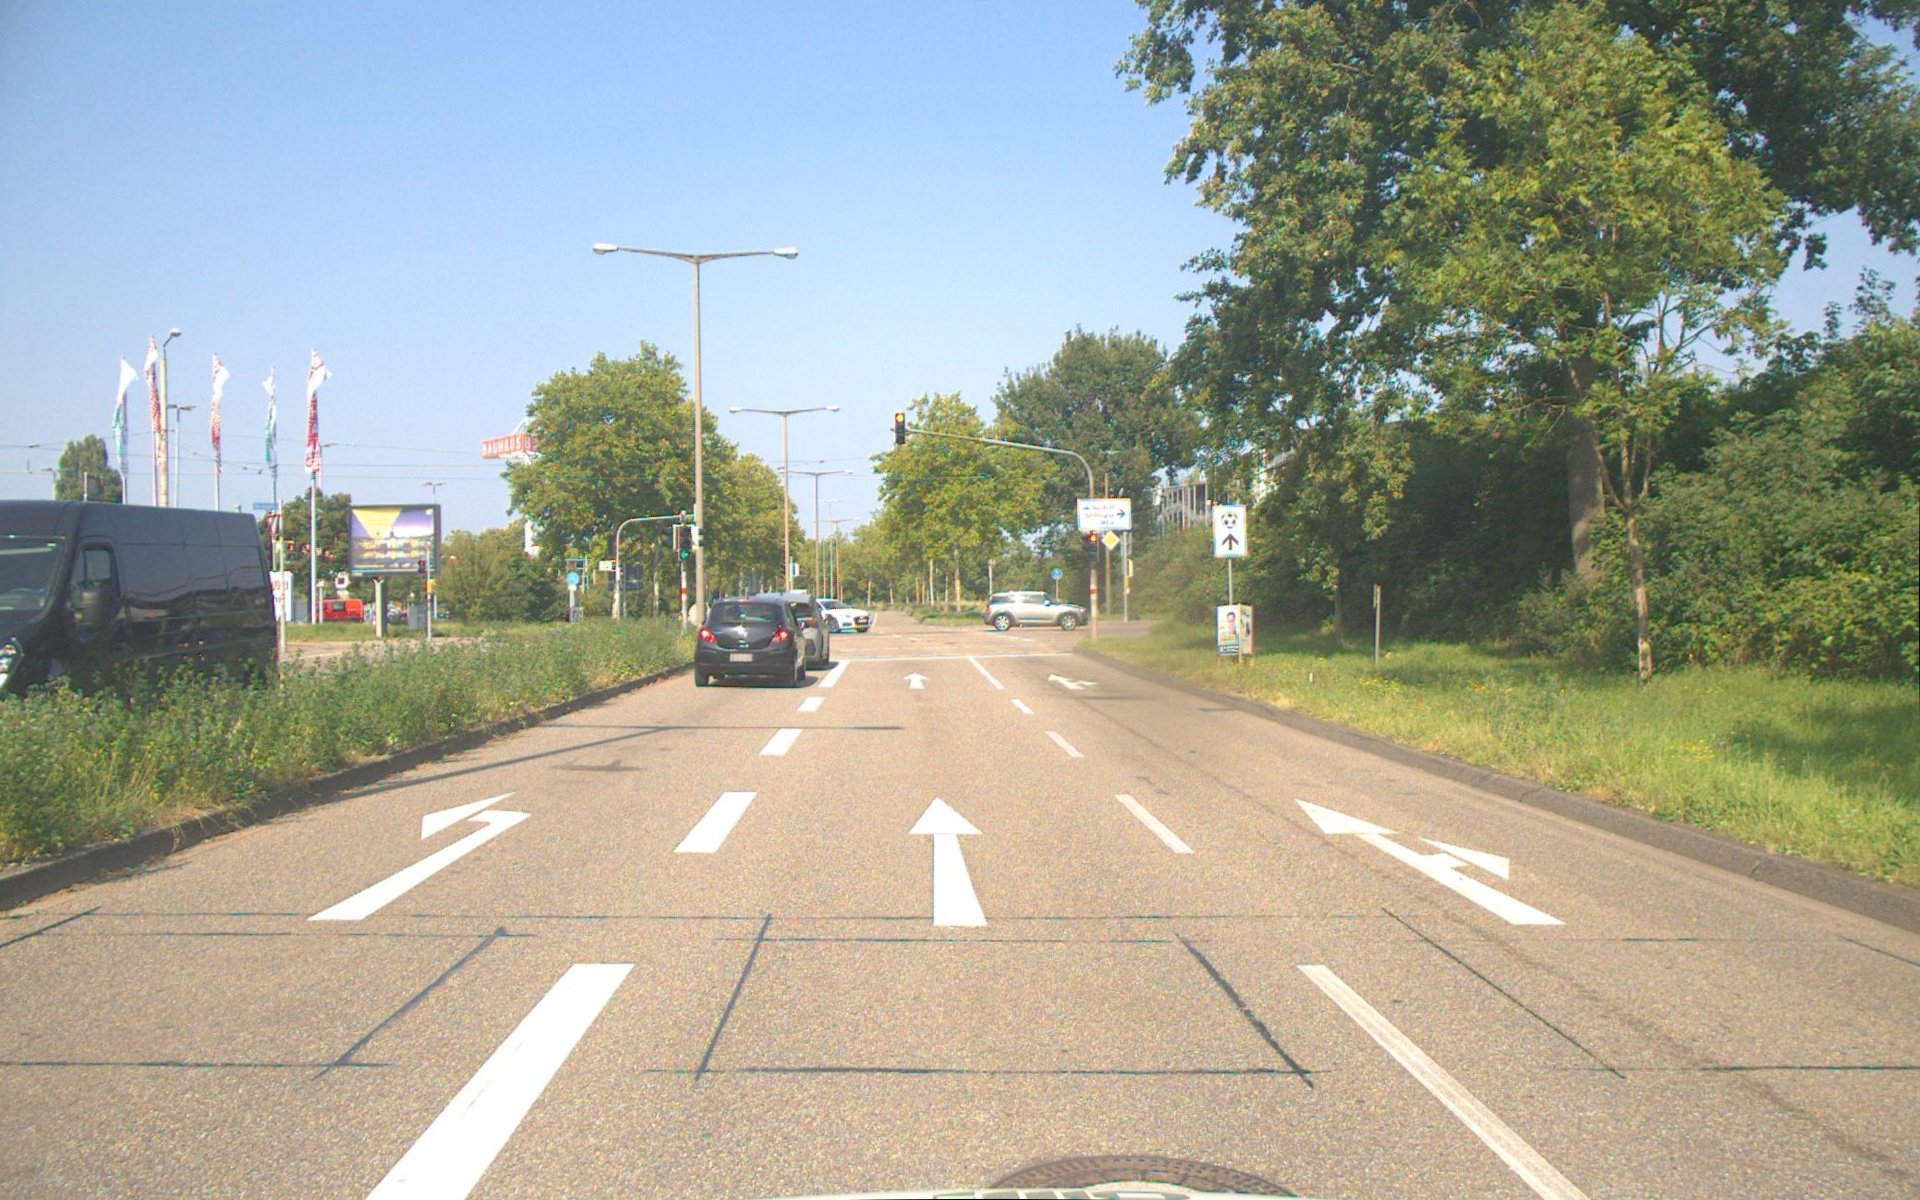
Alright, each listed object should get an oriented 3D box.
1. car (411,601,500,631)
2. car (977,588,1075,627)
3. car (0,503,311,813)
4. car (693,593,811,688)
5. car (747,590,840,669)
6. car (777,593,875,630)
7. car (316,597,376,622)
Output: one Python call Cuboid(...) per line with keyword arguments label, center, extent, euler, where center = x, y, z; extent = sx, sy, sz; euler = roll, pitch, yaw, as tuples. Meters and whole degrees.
Cuboid(label="car", center=(-21.756, 0.683, 71.318), extent=(3.303, 1.156, 1.494), euler=(-2, 0, 6))
Cuboid(label="car", center=(2.666, 0.292, 66.625), extent=(3.882, 1.512, 1.626), euler=(0, 0, 4))
Cuboid(label="car", center=(-8.333, 0.455, 15.726), extent=(2.070, 2.373, 6.279), euler=(0, 0, -2))
Cuboid(label="car", center=(-3.512, 0.654, 28.510), extent=(1.658, 1.512, 3.998), euler=(0, 0, -2))
Cuboid(label="car", center=(-3.418, 0.574, 34.582), extent=(1.658, 1.512, 3.998), euler=(-1, 0, -2))
Cuboid(label="car", center=(-5.719, 0.450, 70.182), extent=(1.684, 1.512, 4.550), euler=(1, 0, -43))
Cuboid(label="car", center=(-50.169, 0.768, 135.142), extent=(4.241, 2.049, 1.975), euler=(0, 0, -35))
